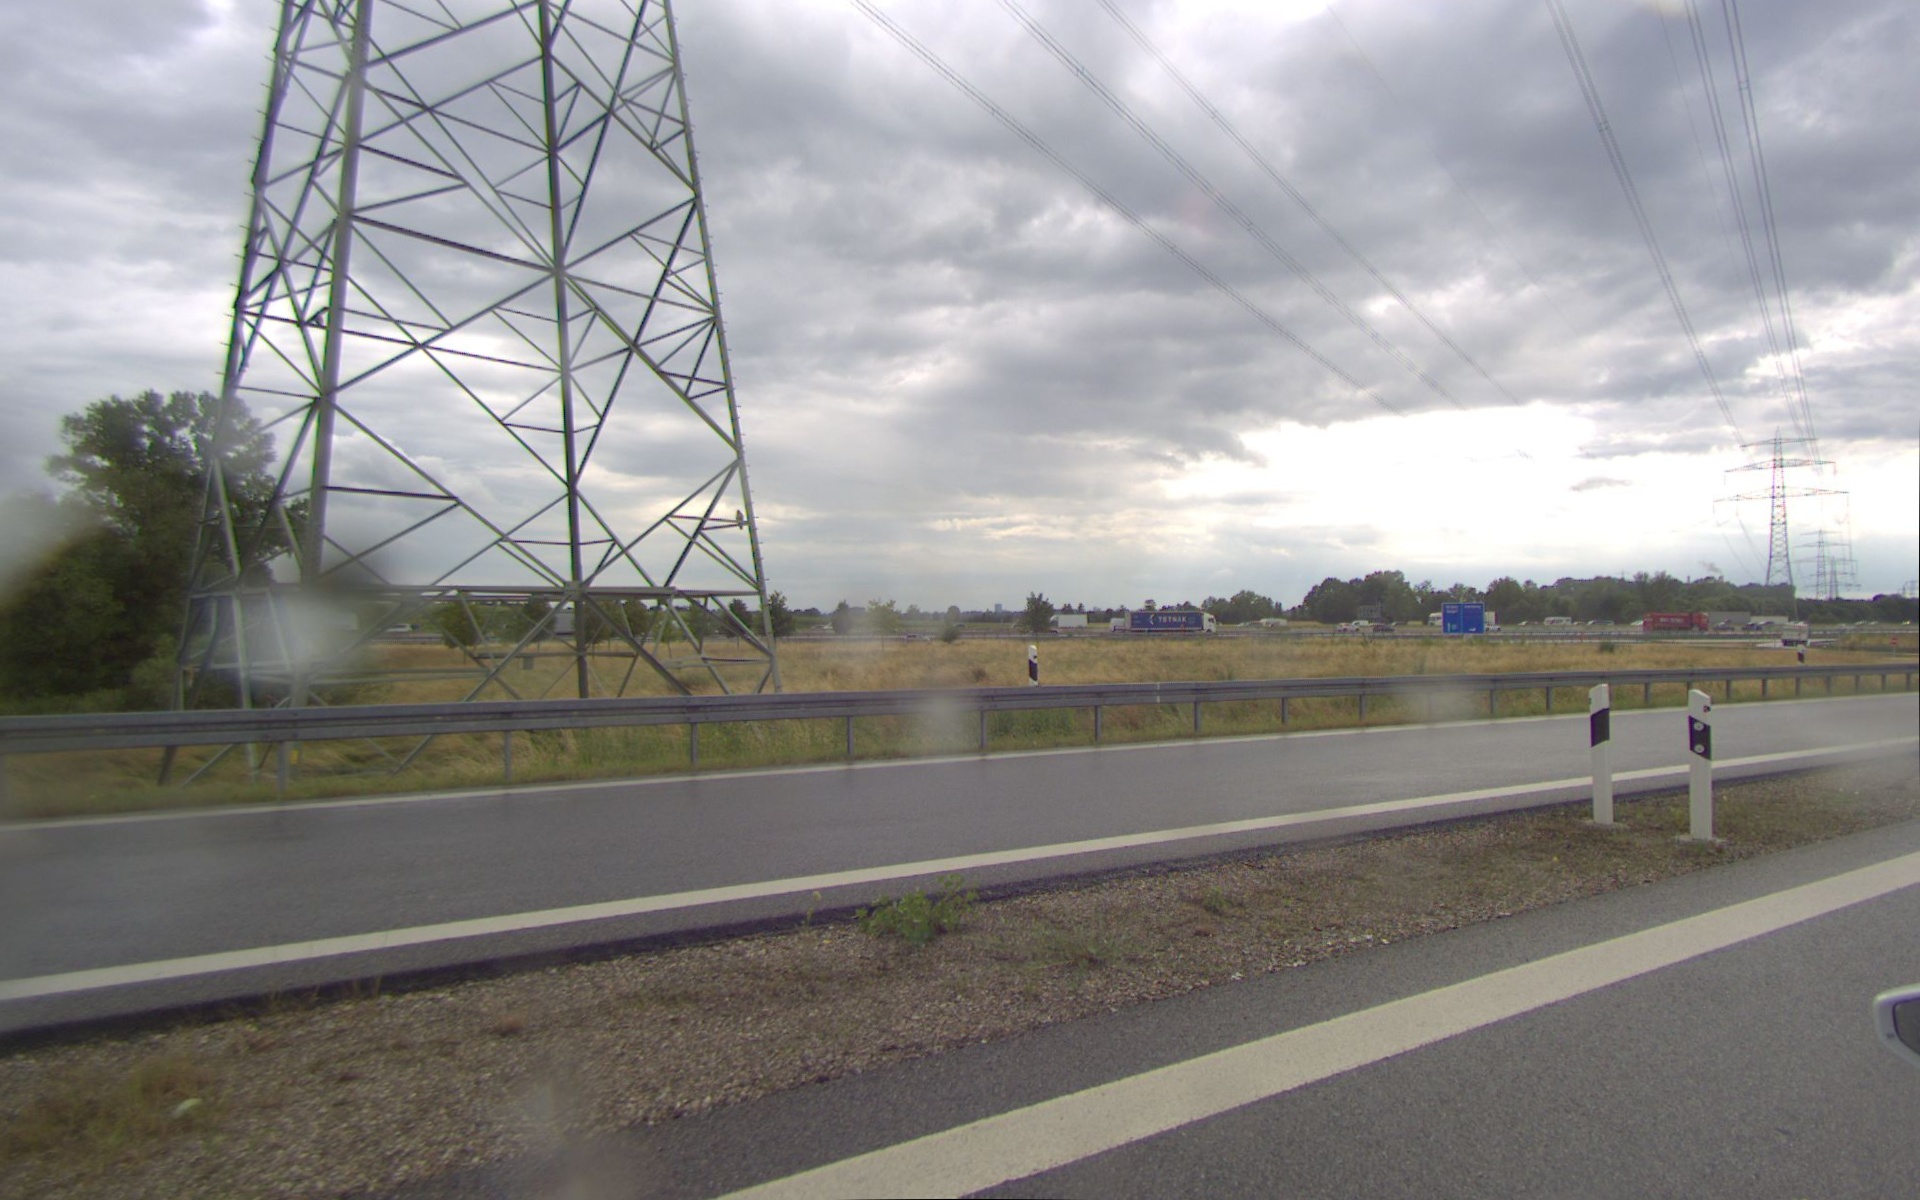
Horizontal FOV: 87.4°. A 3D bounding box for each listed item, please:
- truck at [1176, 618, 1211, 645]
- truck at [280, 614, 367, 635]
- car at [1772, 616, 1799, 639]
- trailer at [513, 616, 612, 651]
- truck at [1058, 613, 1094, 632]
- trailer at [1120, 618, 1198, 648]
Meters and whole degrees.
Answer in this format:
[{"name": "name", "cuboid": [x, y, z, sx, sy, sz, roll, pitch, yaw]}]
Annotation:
[{"name": "truck", "cuboid": [40.519, 5.474, 174.530, 4.988, 4.540, 3.069, -1, 0, -15]}, {"name": "truck", "cuboid": [-106.881, 4.083, 168.775, 11.844, 3.133, 3.222, -1, 0, -15]}, {"name": "car", "cuboid": [138.590, 4.586, 168.597, 3.343, 3.658, 9.003, -1, -2, 40]}, {"name": "trailer", "cuboid": [-58.120, 4.860, 147.358, 13.175, 4.678, 3.471, -1, 0, -17]}, {"name": "truck", "cuboid": [23.678, 4.545, 204.234, 6.988, 3.517, 1.994, -1, 0, -14]}, {"name": "trailer", "cuboid": [34.300, 5.571, 172.850, 13.076, 4.698, 3.049, -1, 0, -14]}]
